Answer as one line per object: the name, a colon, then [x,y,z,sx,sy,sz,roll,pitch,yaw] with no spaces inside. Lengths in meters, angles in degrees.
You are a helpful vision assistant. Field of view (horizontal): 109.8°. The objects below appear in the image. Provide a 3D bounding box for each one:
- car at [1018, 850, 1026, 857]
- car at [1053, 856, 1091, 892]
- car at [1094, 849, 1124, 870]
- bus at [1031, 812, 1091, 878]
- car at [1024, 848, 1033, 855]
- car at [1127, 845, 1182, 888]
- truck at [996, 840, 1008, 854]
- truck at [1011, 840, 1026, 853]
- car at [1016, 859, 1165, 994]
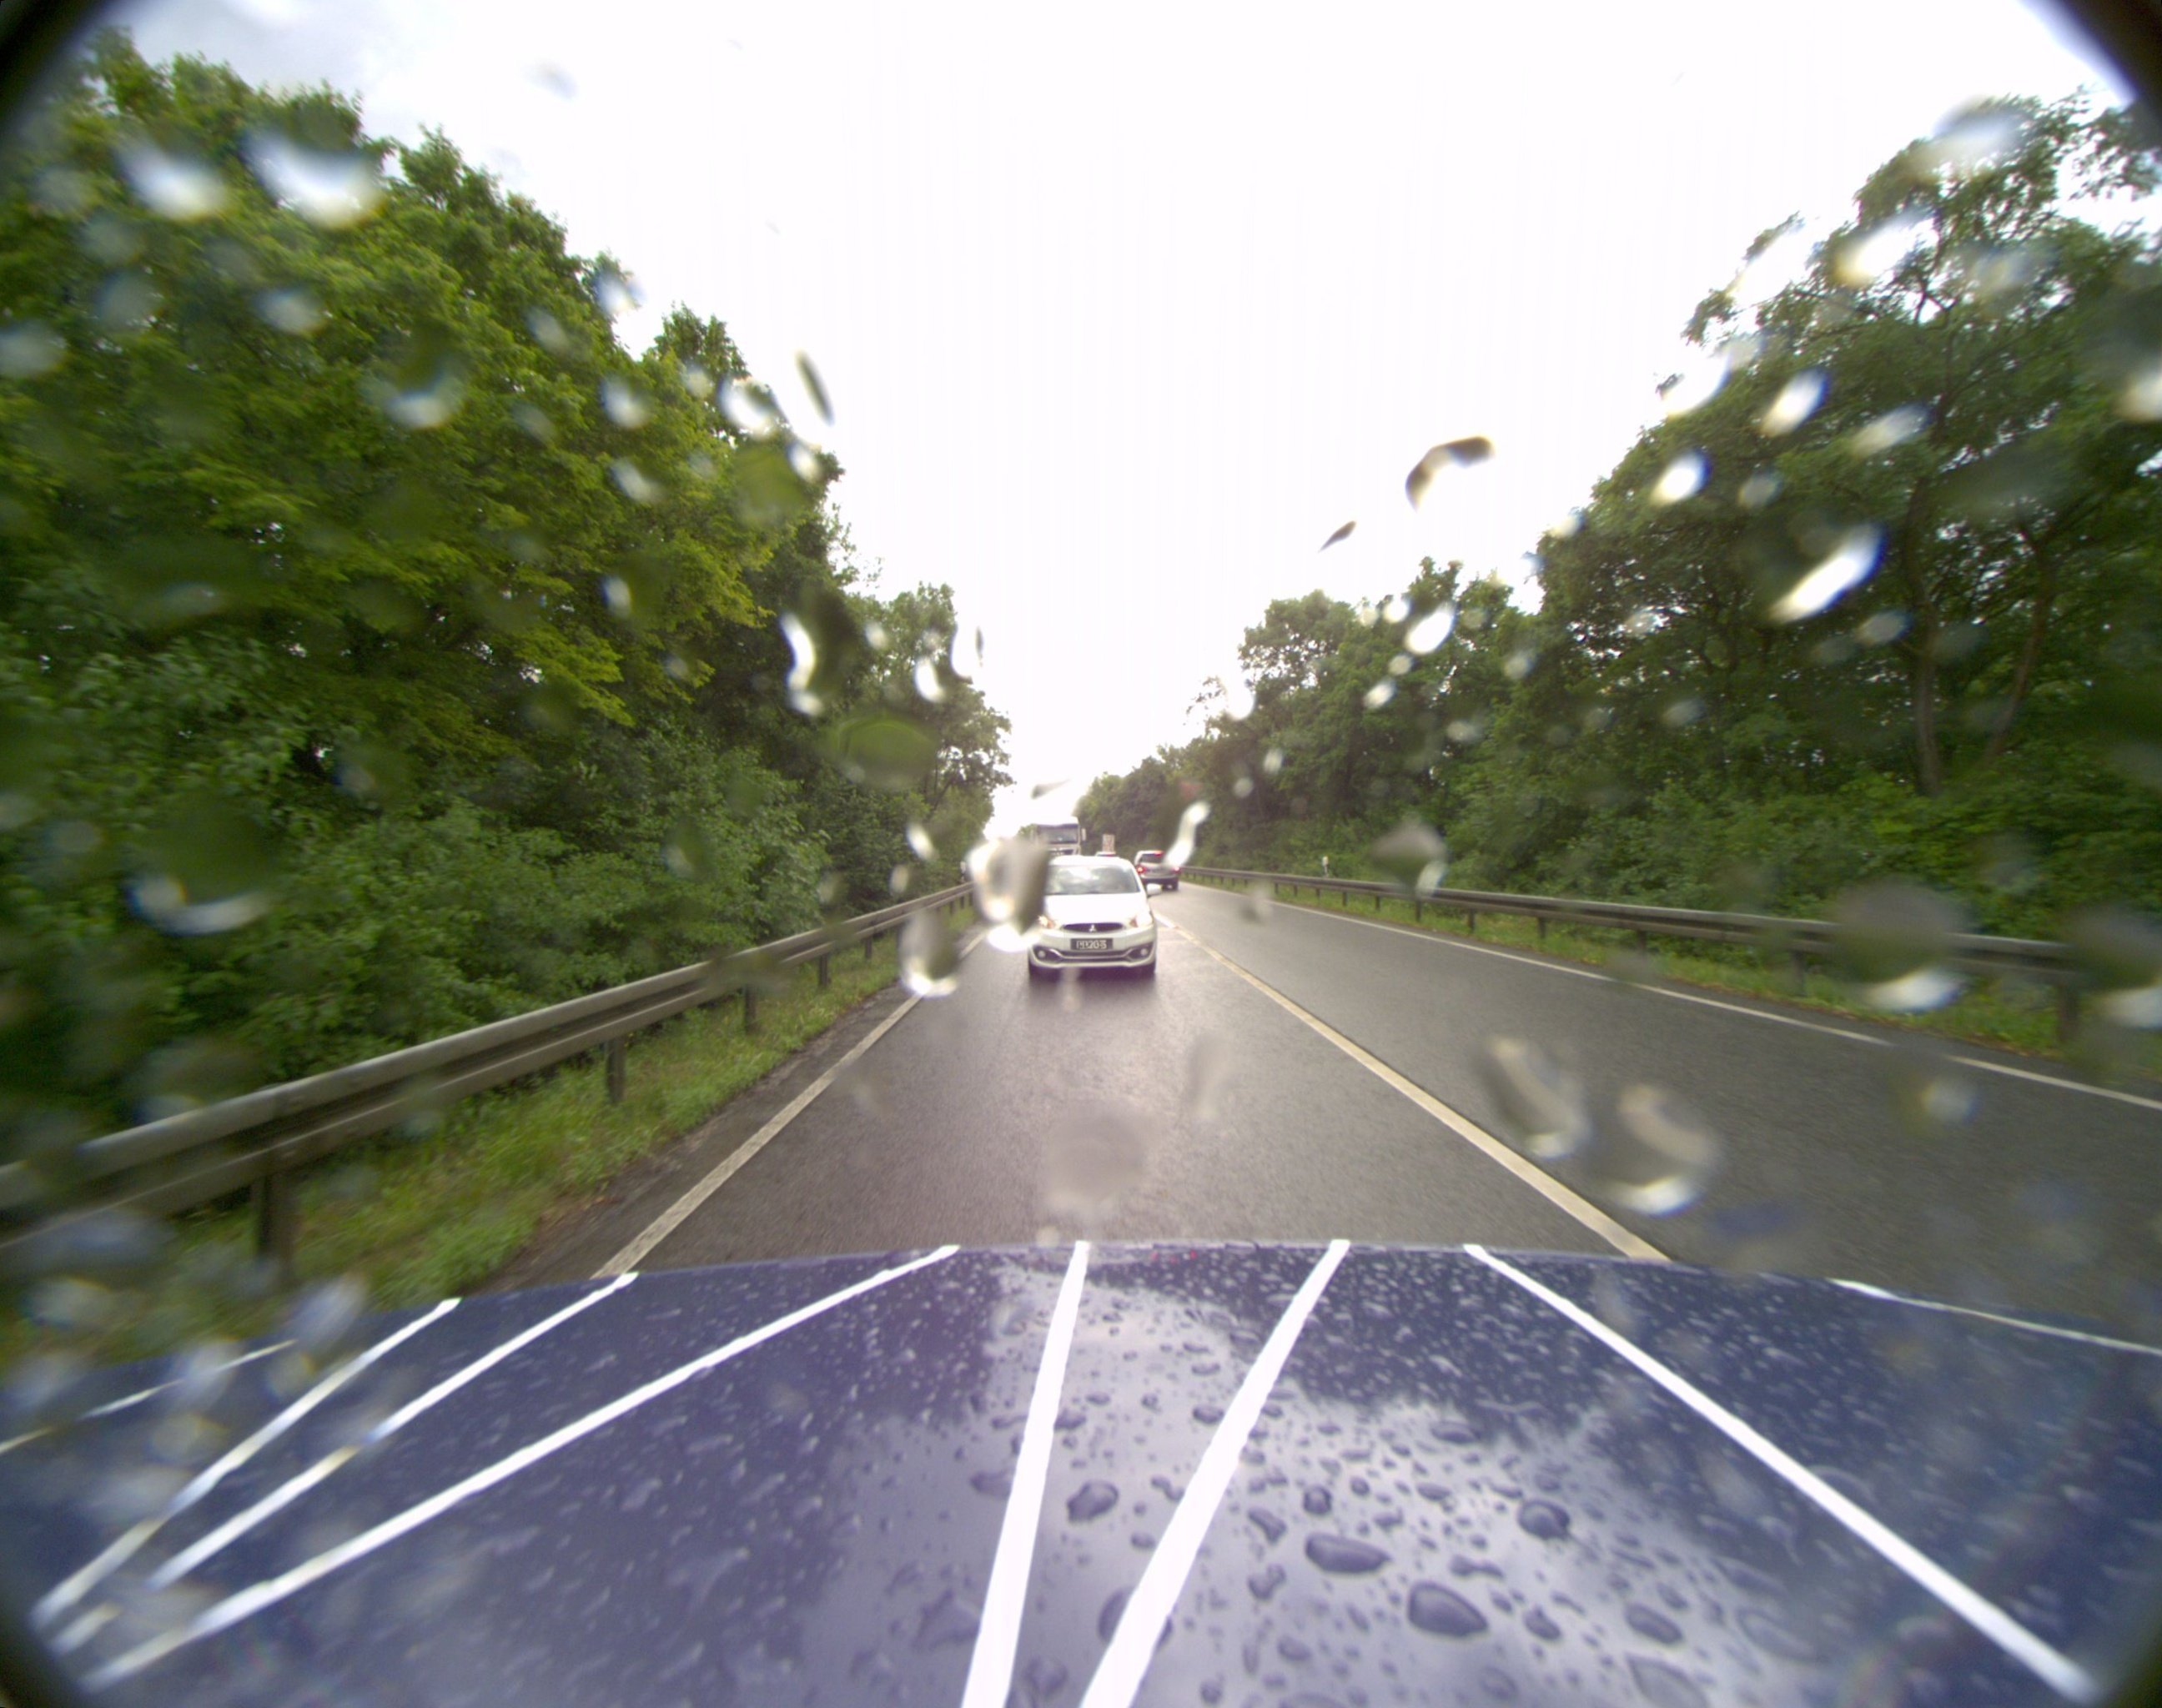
car: [-12.998,-0.151,167.622,1.535,1.459,3.072,-2,0,-8]
car: [-0.414,0.809,31.870,1.476,1.410,3.428,-1,0,-2]
car: [1.947,0.393,54.476,1.886,1.412,3.999,-2,0,-2]
bus: [-1.251,-0.507,46.766,3.063,3.405,13.637,-2,0,-2]
car: [-10.800,-0.483,155.995,1.535,1.459,3.072,-2,0,-8]
car: [3.078,0.503,32.355,1.801,1.650,4.081,-2,0,-1]
truck: [-22.835,-2.063,219.887,2.483,4.056,7.562,-2,1,-14]
truck: [-15.069,-1.811,183.189,2.433,2.982,6.936,-2,1,-12]
car: [0.042,0.862,10.885,1.701,1.471,4.062,-2,0,-2]
